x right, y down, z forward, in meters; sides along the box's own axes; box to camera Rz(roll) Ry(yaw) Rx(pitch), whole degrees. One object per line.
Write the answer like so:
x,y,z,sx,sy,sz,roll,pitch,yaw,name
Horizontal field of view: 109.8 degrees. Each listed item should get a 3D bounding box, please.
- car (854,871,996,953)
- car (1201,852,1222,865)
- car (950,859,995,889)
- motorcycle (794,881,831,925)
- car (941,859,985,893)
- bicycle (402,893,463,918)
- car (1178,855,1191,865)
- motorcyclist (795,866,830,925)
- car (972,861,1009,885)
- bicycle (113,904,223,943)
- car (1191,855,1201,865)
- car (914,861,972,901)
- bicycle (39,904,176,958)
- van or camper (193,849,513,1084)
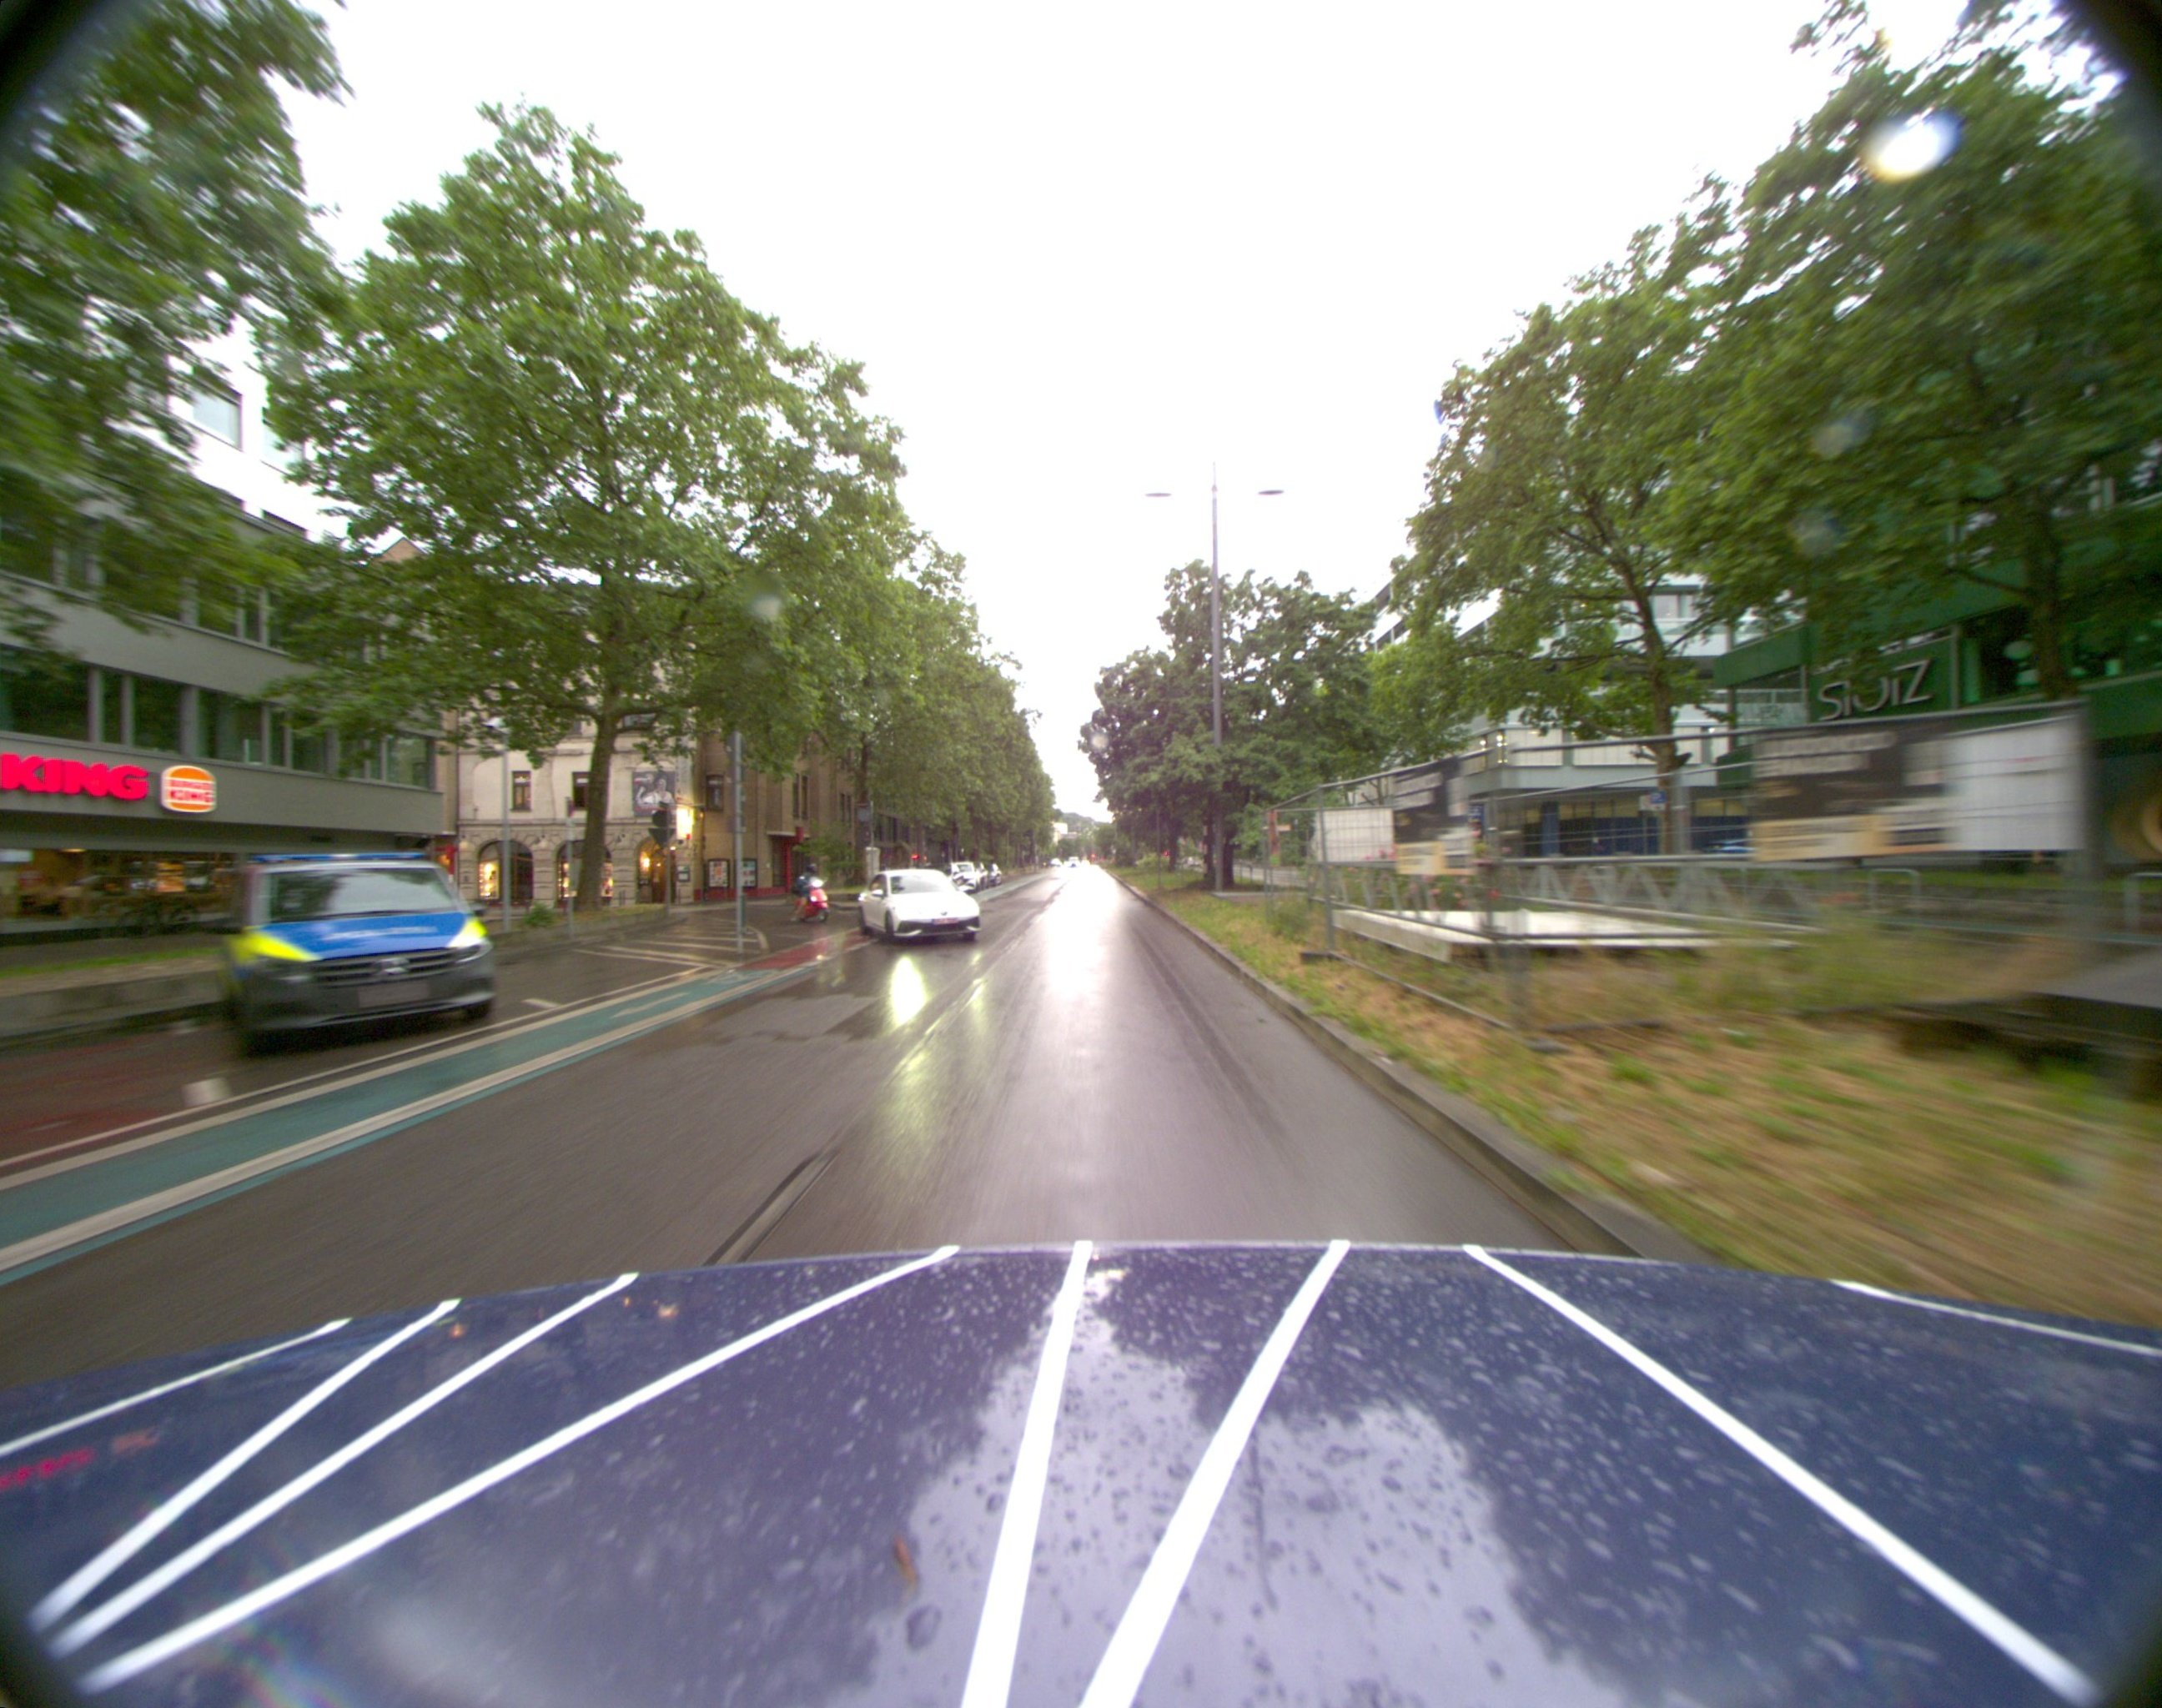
-3.538,1.126,16.538,1.870,1.436,4.500,-2,0,-27,car
15.963,0.535,93.165,1.998,1.483,4.758,0,0,4,car
-6.284,1.132,44.555,1.999,1.580,4.560,-2,0,-1,car
-7.739,1.393,22.004,0.869,1.136,2.019,-2,0,-17,motorcycle
-6.052,1.095,39.331,1.756,1.576,4.409,-2,0,-3,car
-25.849,2.053,30.288,1.971,0.932,0.625,-2,0,5,bicycle
18.578,1.042,136.179,1.998,1.791,4.283,-1,0,5,car
-7.744,1.169,21.961,0.850,1.635,0.870,-2,0,-17,motorcyclist
-5.877,1.214,50.015,1.747,1.424,4.586,-2,0,1,car
-23.176,1.749,19.351,0.643,0.814,1.912,-2,0,-8,bicycle
16.740,0.839,110.593,1.163,1.454,3.561,-1,0,3,car
-6.110,1.152,34.126,1.797,1.593,4.423,-3,0,0,car
-22.701,1.763,17.784,0.584,0.890,2.074,8,2,-5,bicycle
-8.651,1.042,8.868,4.934,1.980,2.006,-2,1,39,van or camper
